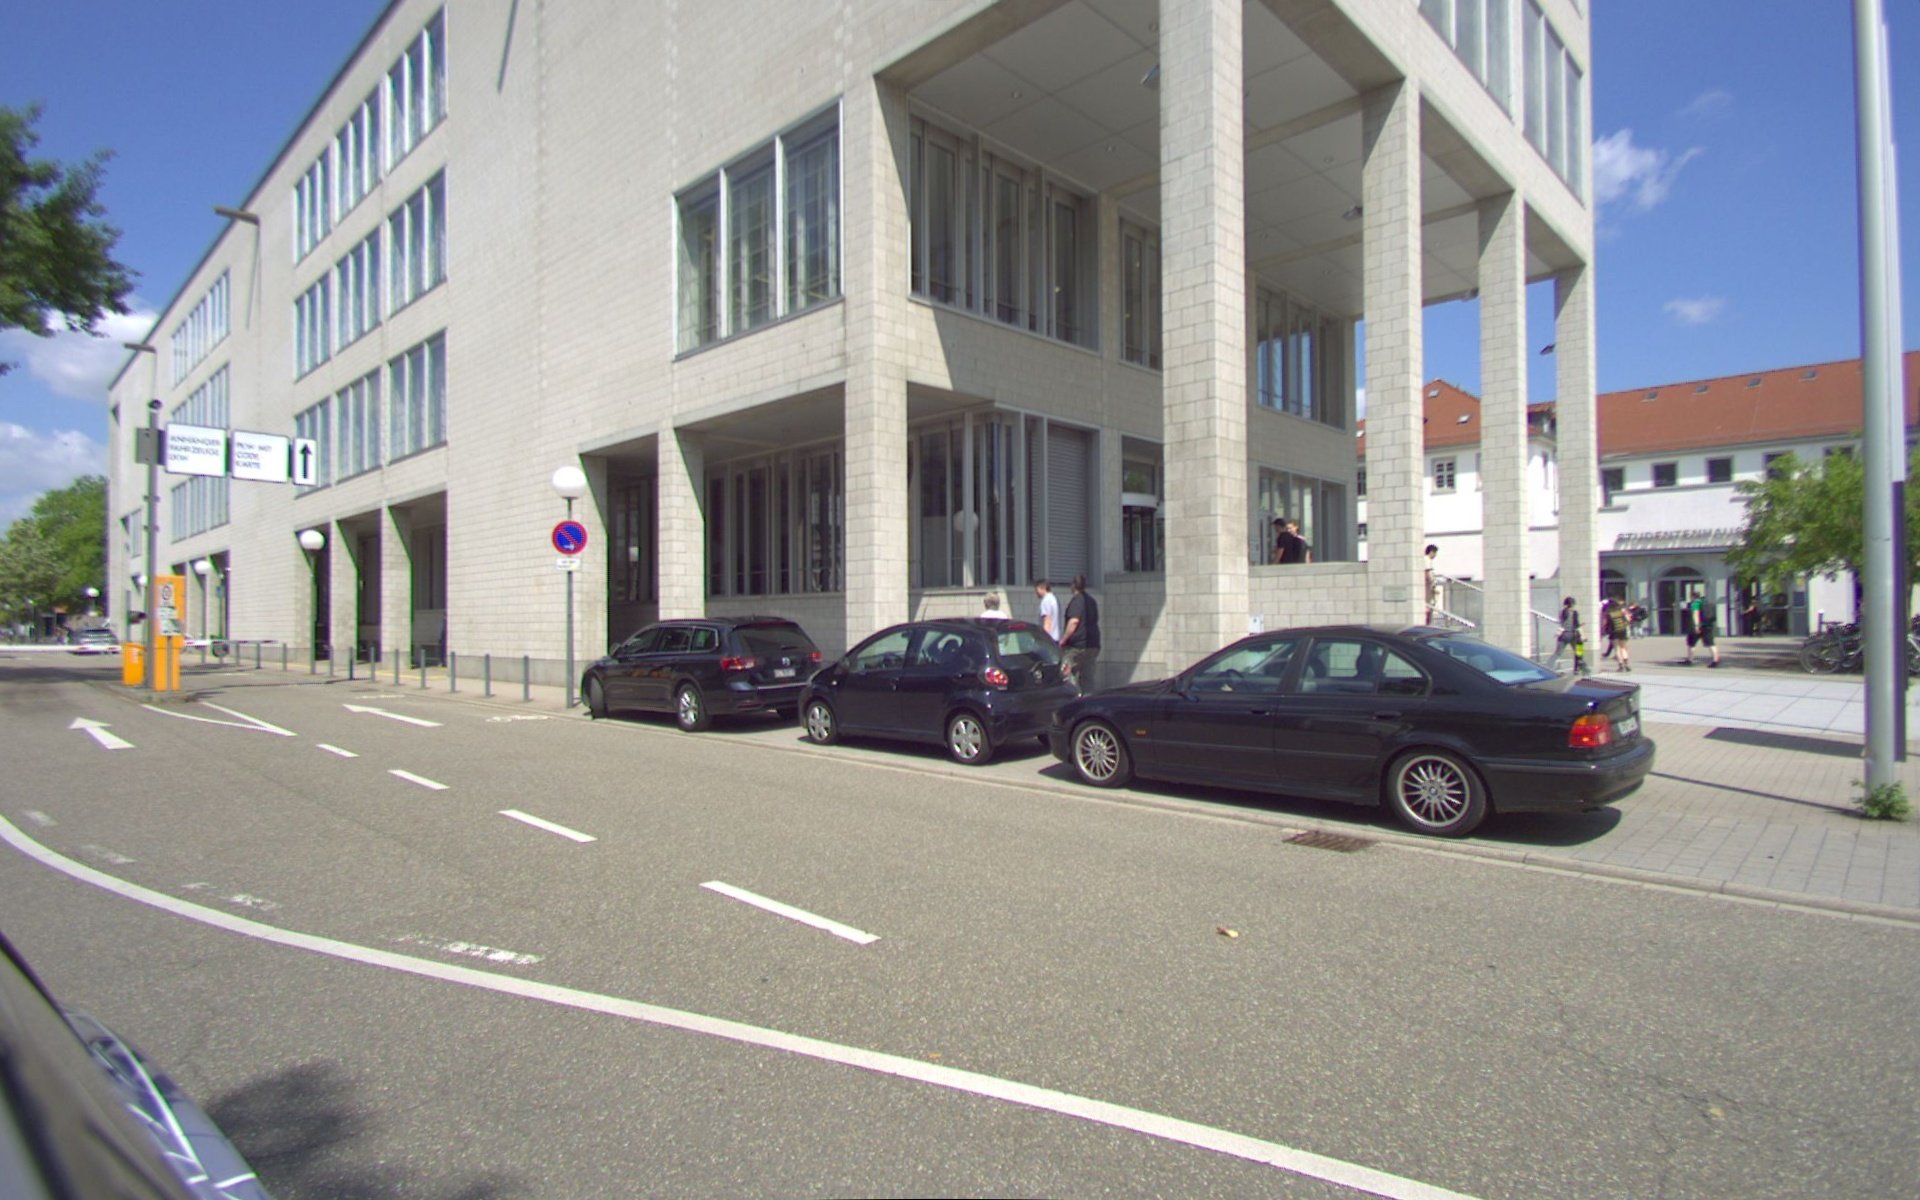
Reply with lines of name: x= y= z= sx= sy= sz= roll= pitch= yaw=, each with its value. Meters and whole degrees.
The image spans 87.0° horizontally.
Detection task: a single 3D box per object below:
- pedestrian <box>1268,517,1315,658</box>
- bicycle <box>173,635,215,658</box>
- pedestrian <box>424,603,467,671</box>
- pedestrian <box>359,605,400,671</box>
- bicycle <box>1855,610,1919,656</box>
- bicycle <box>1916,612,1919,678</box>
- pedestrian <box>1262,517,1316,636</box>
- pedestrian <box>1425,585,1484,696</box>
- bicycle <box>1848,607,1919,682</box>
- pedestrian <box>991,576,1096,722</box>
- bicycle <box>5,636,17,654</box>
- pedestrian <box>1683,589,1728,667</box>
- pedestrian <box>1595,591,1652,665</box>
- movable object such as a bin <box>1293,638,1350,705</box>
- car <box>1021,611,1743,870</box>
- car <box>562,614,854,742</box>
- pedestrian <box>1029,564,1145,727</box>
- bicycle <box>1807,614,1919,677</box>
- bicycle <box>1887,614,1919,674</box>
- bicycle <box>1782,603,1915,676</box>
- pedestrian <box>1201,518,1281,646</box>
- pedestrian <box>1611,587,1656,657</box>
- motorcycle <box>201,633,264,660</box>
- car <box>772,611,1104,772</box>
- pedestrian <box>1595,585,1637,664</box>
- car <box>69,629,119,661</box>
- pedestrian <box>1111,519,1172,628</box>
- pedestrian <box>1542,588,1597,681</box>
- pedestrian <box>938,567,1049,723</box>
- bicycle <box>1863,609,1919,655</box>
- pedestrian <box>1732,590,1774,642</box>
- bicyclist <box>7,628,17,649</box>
pedestrian: x=5.861 y=-0.207 z=17.945 sx=0.732 sy=2.440 sz=0.755 roll=-1 pitch=-1 yaw=18
bicycle: x=-39.235 y=2.371 z=51.844 sx=0.607 sy=1.095 sz=1.623 roll=-2 pitch=-1 yaw=38
pedestrian: x=-15.784 y=1.132 z=31.035 sx=1.066 sy=2.029 sz=0.839 roll=-2 pitch=-2 yaw=42
pedestrian: x=-18.332 y=1.187 z=31.952 sx=1.066 sy=2.029 sz=0.839 roll=-2 pitch=-2 yaw=42
bicycle: x=29.879 y=1.018 z=31.412 sx=1.129 sy=1.422 sz=2.957 roll=0 pitch=-1 yaw=-38
bicycle: x=20.769 y=0.964 z=20.382 sx=1.140 sy=1.422 sz=2.930 roll=-1 pitch=-1 yaw=21
pedestrian: x=6.118 y=-0.417 z=18.866 sx=0.695 sy=2.161 sz=0.805 roll=-1 pitch=-1 yaw=-1
pedestrian: x=8.123 y=0.663 z=16.650 sx=0.732 sy=1.770 sz=0.755 roll=-1 pitch=-1 yaw=18
bicycle: x=19.689 y=0.872 z=20.844 sx=1.140 sy=1.422 sz=2.930 roll=-1 pitch=-1 yaw=21
pedestrian: x=1.223 y=0.699 z=14.821 sx=1.164 sy=2.029 sz=0.974 roll=-2 pitch=-2 yaw=40
bicycle: x=-82.929 y=3.925 z=88.474 sx=1.936 sy=1.505 sz=0.630 roll=-2 pitch=-1 yaw=43
pedestrian: x=17.467 y=0.642 z=23.713 sx=0.738 sy=1.787 sz=0.749 roll=-2 pitch=-2 yaw=43
pedestrian: x=14.881 y=0.630 z=22.714 sx=0.722 sy=1.626 sz=0.737 roll=-1 pitch=-1 yaw=-2
movable object such as a bin: x=5.311 y=1.038 z=14.855 sx=0.596 sy=0.937 sz=0.569 roll=-2 pitch=-1 yaw=44
car: x=2.976 y=0.852 z=8.131 sx=1.838 sy=1.388 sz=5.020 roll=-2 pitch=0 yaw=-44
car: x=-3.768 y=1.010 z=14.565 sx=4.720 sy=1.478 sz=1.839 roll=-2 pitch=0 yaw=44
pedestrian: x=1.678 y=0.577 z=13.364 sx=1.164 sy=2.029 sz=0.974 roll=-2 pitch=-2 yaw=40
bicycle: x=22.203 y=1.064 z=24.039 sx=1.128 sy=1.422 sz=2.961 roll=-1 pitch=-1 yaw=-24
bicycle: x=23.863 y=1.034 z=23.699 sx=1.128 sy=1.422 sz=2.961 roll=-1 pitch=-1 yaw=-24
bicycle: x=18.606 y=0.781 z=21.314 sx=1.140 sy=1.422 sz=2.930 roll=-1 pitch=-1 yaw=21
pedestrian: x=4.661 y=-0.282 z=16.779 sx=0.911 sy=2.029 sz=0.967 roll=-2 pitch=-1 yaw=44
pedestrian: x=18.149 y=0.588 z=27.293 sx=0.752 sy=1.851 sz=0.698 roll=-1 pitch=-1 yaw=9
motorcycle: x=-32.656 y=2.078 z=45.468 sx=0.773 sy=1.146 sz=2.147 roll=-2 pitch=-2 yaw=34
car: x=-0.368 y=0.926 z=11.526 sx=3.708 sy=1.478 sz=1.620 roll=-2 pitch=0 yaw=44
pedestrian: x=17.253 y=0.628 z=26.603 sx=0.749 sy=2.029 sz=0.737 roll=0 pitch=-1 yaw=-43
car: x=-47.967 y=2.452 z=56.015 sx=4.407 sy=1.546 sz=1.707 roll=-1 pitch=1 yaw=45
pedestrian: x=3.482 y=-0.482 z=19.417 sx=0.975 sy=2.029 sz=0.740 roll=-1 pitch=-1 yaw=24
pedestrian: x=11.879 y=0.678 z=19.746 sx=0.754 sy=1.770 sz=0.733 roll=-1 pitch=-2 yaw=21
pedestrian: x=0.466 y=0.604 z=13.988 sx=1.164 sy=2.029 sz=0.974 roll=-2 pitch=-2 yaw=40
bicycle: x=30.907 y=1.011 z=32.289 sx=1.129 sy=1.422 sz=2.957 roll=0 pitch=-1 yaw=-38
pedestrian: x=31.391 y=0.645 z=40.055 sx=1.041 sy=2.029 sz=0.924 roll=0 pitch=-2 yaw=-27
bicyclist: x=-82.917 y=3.371 z=88.497 sx=0.696 sy=1.778 sz=0.601 roll=-2 pitch=-1 yaw=42
